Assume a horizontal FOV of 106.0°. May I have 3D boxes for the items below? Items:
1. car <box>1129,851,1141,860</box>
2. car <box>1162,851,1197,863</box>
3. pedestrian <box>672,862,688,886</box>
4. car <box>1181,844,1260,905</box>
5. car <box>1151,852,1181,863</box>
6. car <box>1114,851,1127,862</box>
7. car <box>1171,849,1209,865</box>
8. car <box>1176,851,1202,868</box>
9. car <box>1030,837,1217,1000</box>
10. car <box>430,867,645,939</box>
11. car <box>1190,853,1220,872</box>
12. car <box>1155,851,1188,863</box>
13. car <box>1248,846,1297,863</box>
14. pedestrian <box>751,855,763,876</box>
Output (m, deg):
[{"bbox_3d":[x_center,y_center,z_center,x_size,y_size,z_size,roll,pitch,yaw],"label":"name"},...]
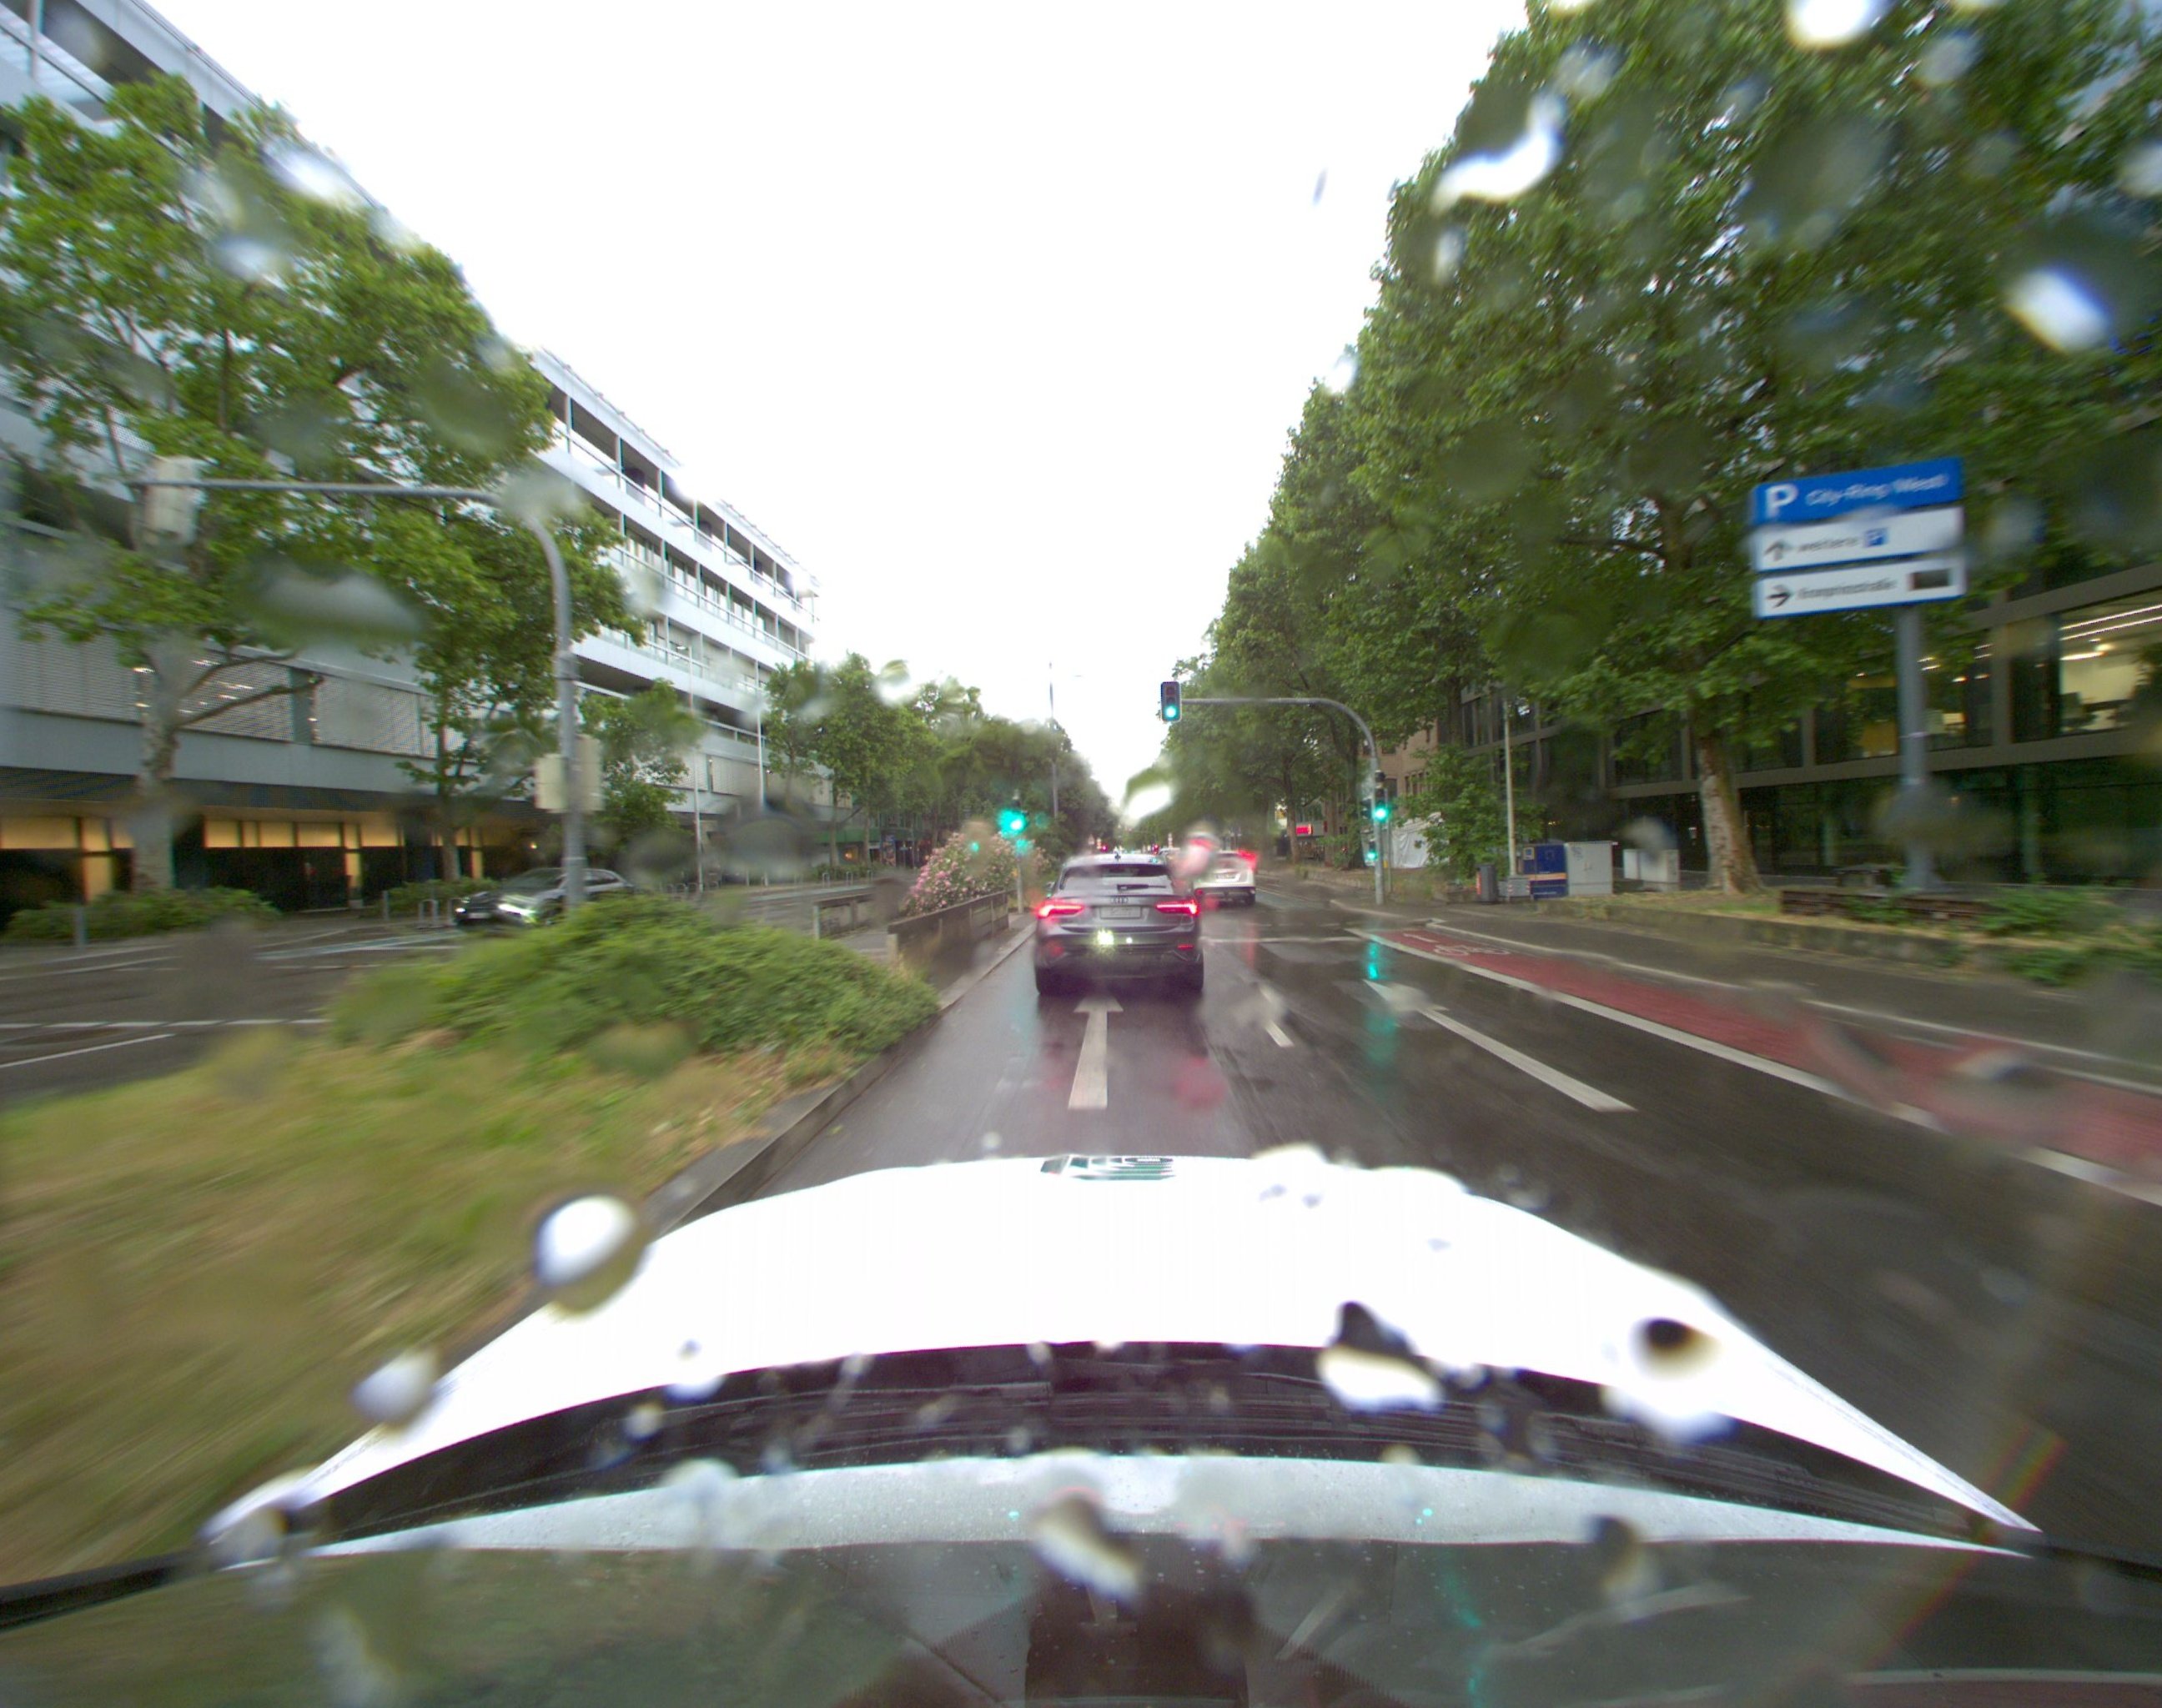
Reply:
[{"bbox_3d":[9.799,0.329,148.137,1.985,1.651,4.002,0,-1,3],"label":"car"},{"bbox_3d":[14.553,0.403,120.304,4.594,1.706,2.012,-1,-1,30],"label":"car"},{"bbox_3d":[-22.954,1.141,46.627,0.635,1.380,0.474,0,-1,-1],"label":"pedestrian"},{"bbox_3d":[4.129,0.602,24.701,1.871,1.697,4.002,0,-1,2],"label":"car"},{"bbox_3d":[14.423,0.590,137.472,4.594,1.706,2.012,-1,-1,30],"label":"car"},{"bbox_3d":[6.412,0.344,132.183,1.986,1.726,4.001,0,-1,2],"label":"car"},{"bbox_3d":[14.177,0.407,105.973,4.548,2.014,1.980,-1,-1,40],"label":"car"},{"bbox_3d":[10.097,0.540,76.407,1.723,1.571,4.070,0,-1,-2],"label":"car"},{"bbox_3d":[0.475,0.676,10.172,1.843,1.602,4.001,-1,-1,1],"label":"car"},{"bbox_3d":[-13.493,1.141,20.677,1.900,1.584,4.754,0,-1,6],"label":"car"},{"bbox_3d":[9.938,0.682,65.438,1.866,1.421,4.613,0,0,2],"label":"car"},{"bbox_3d":[13.734,0.436,123.961,4.594,1.706,2.012,-1,-1,30],"label":"car"},{"bbox_3d":[13.013,0.055,55.347,2.856,1.074,1.465,-1,-1,33],"label":"car"},{"bbox_3d":[-23.024,0.795,57.841,0.608,1.482,0.574,0,-1,-1],"label":"pedestrian"}]
